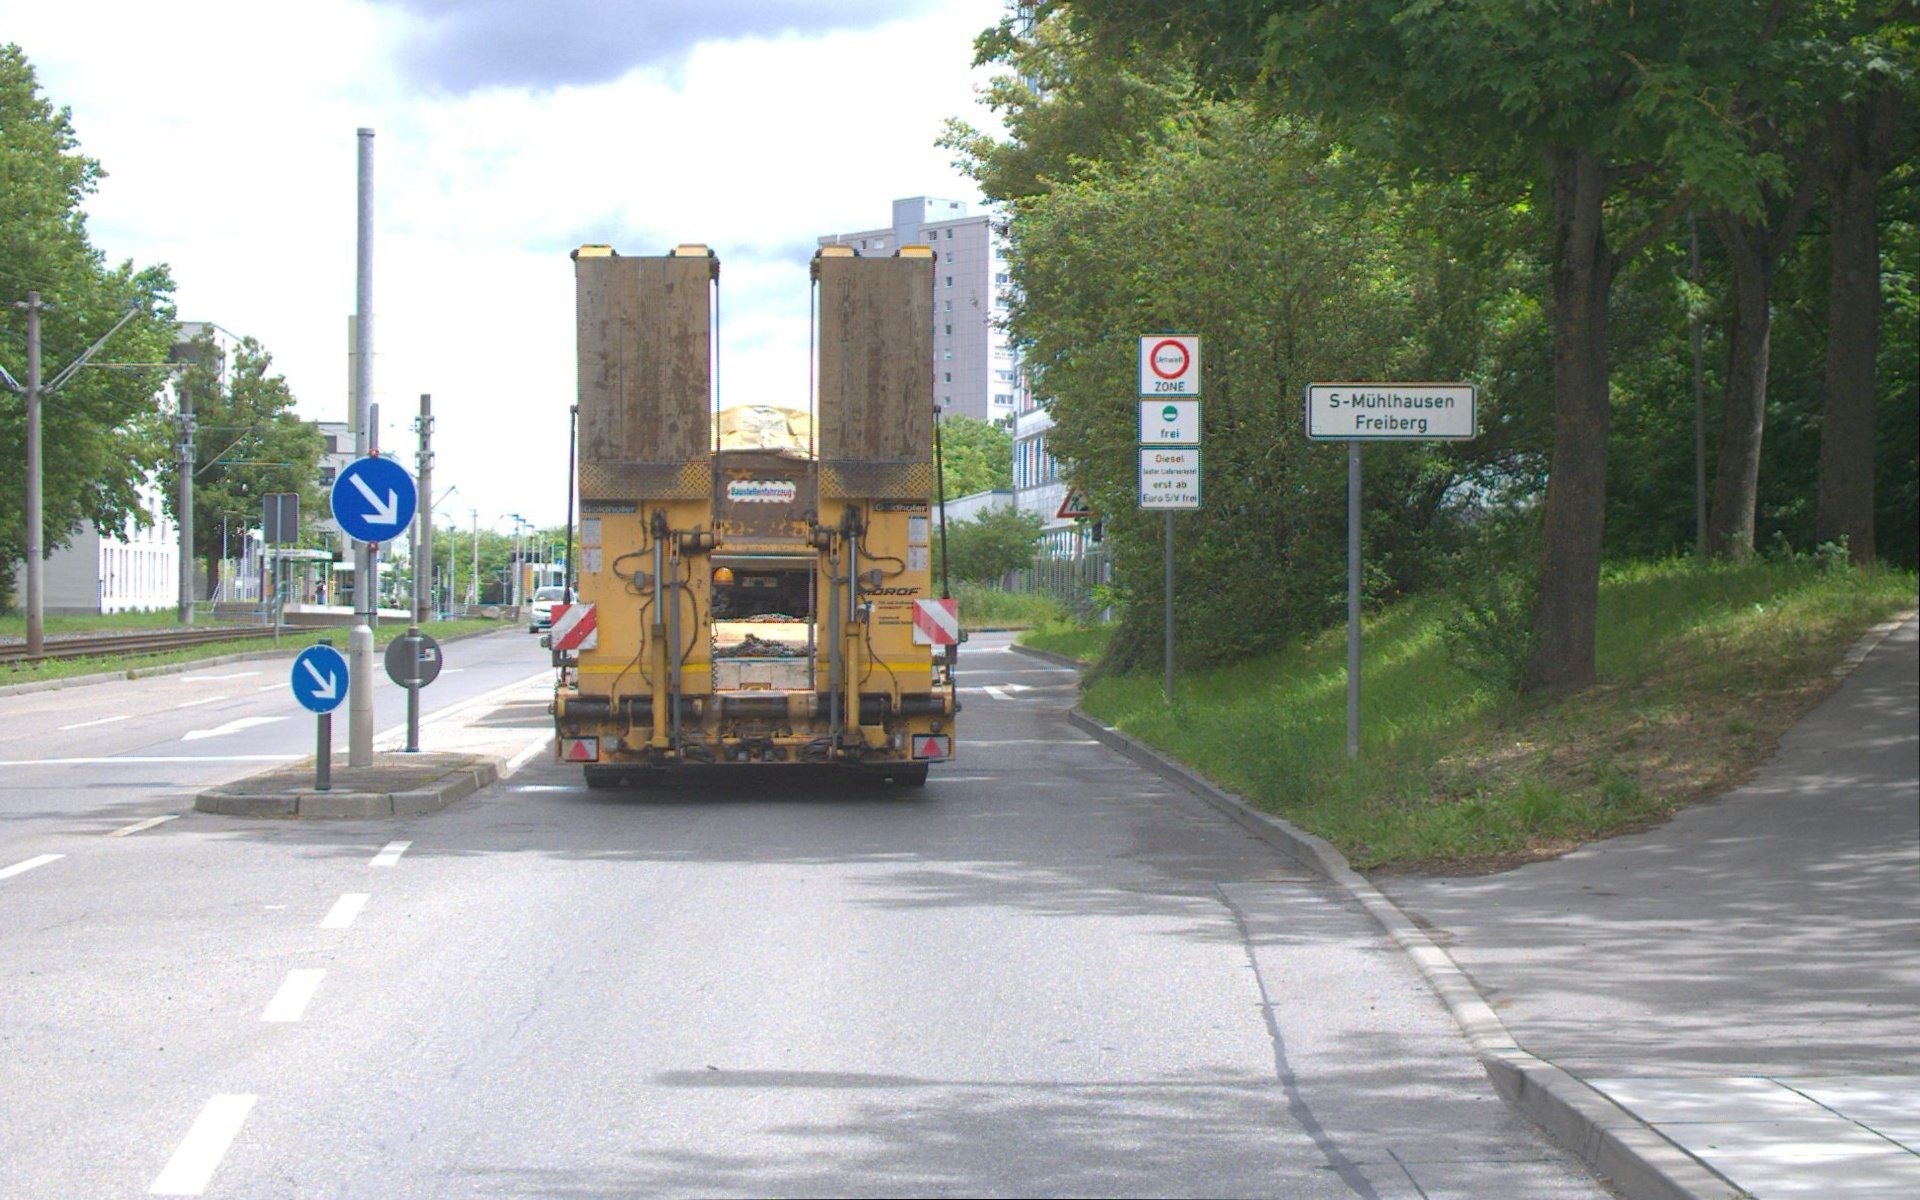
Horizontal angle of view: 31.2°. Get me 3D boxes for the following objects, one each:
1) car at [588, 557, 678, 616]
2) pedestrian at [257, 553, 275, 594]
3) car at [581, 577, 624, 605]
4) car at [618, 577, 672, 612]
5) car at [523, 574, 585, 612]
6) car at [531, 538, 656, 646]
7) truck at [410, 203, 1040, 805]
[{"bbox_3d":[-8.407,-0.360,88.745,1.993,1.415,4.000,2,1,-2],"label":"car"},{"bbox_3d":[-33.865,-1.287,167.765,0.653,2.007,0.653,2,0,4],"label":"pedestrian"},{"bbox_3d":[-16.376,-0.415,157.590,1.783,1.267,4.345,0,0,-4],"label":"car"},{"bbox_3d":[-11.675,-0.215,127.597,1.783,1.267,4.345,0,0,-2],"label":"car"},{"bbox_3d":[-13.878,-0.258,117.745,1.783,1.267,4.345,0,0,-2],"label":"car"},{"bbox_3d":[-6.962,-0.177,65.660,1.993,1.919,4.000,2,1,-2],"label":"car"},{"bbox_3d":[-1.326,-0.649,27.675,3.316,3.638,12.560,2,1,4],"label":"truck"}]
